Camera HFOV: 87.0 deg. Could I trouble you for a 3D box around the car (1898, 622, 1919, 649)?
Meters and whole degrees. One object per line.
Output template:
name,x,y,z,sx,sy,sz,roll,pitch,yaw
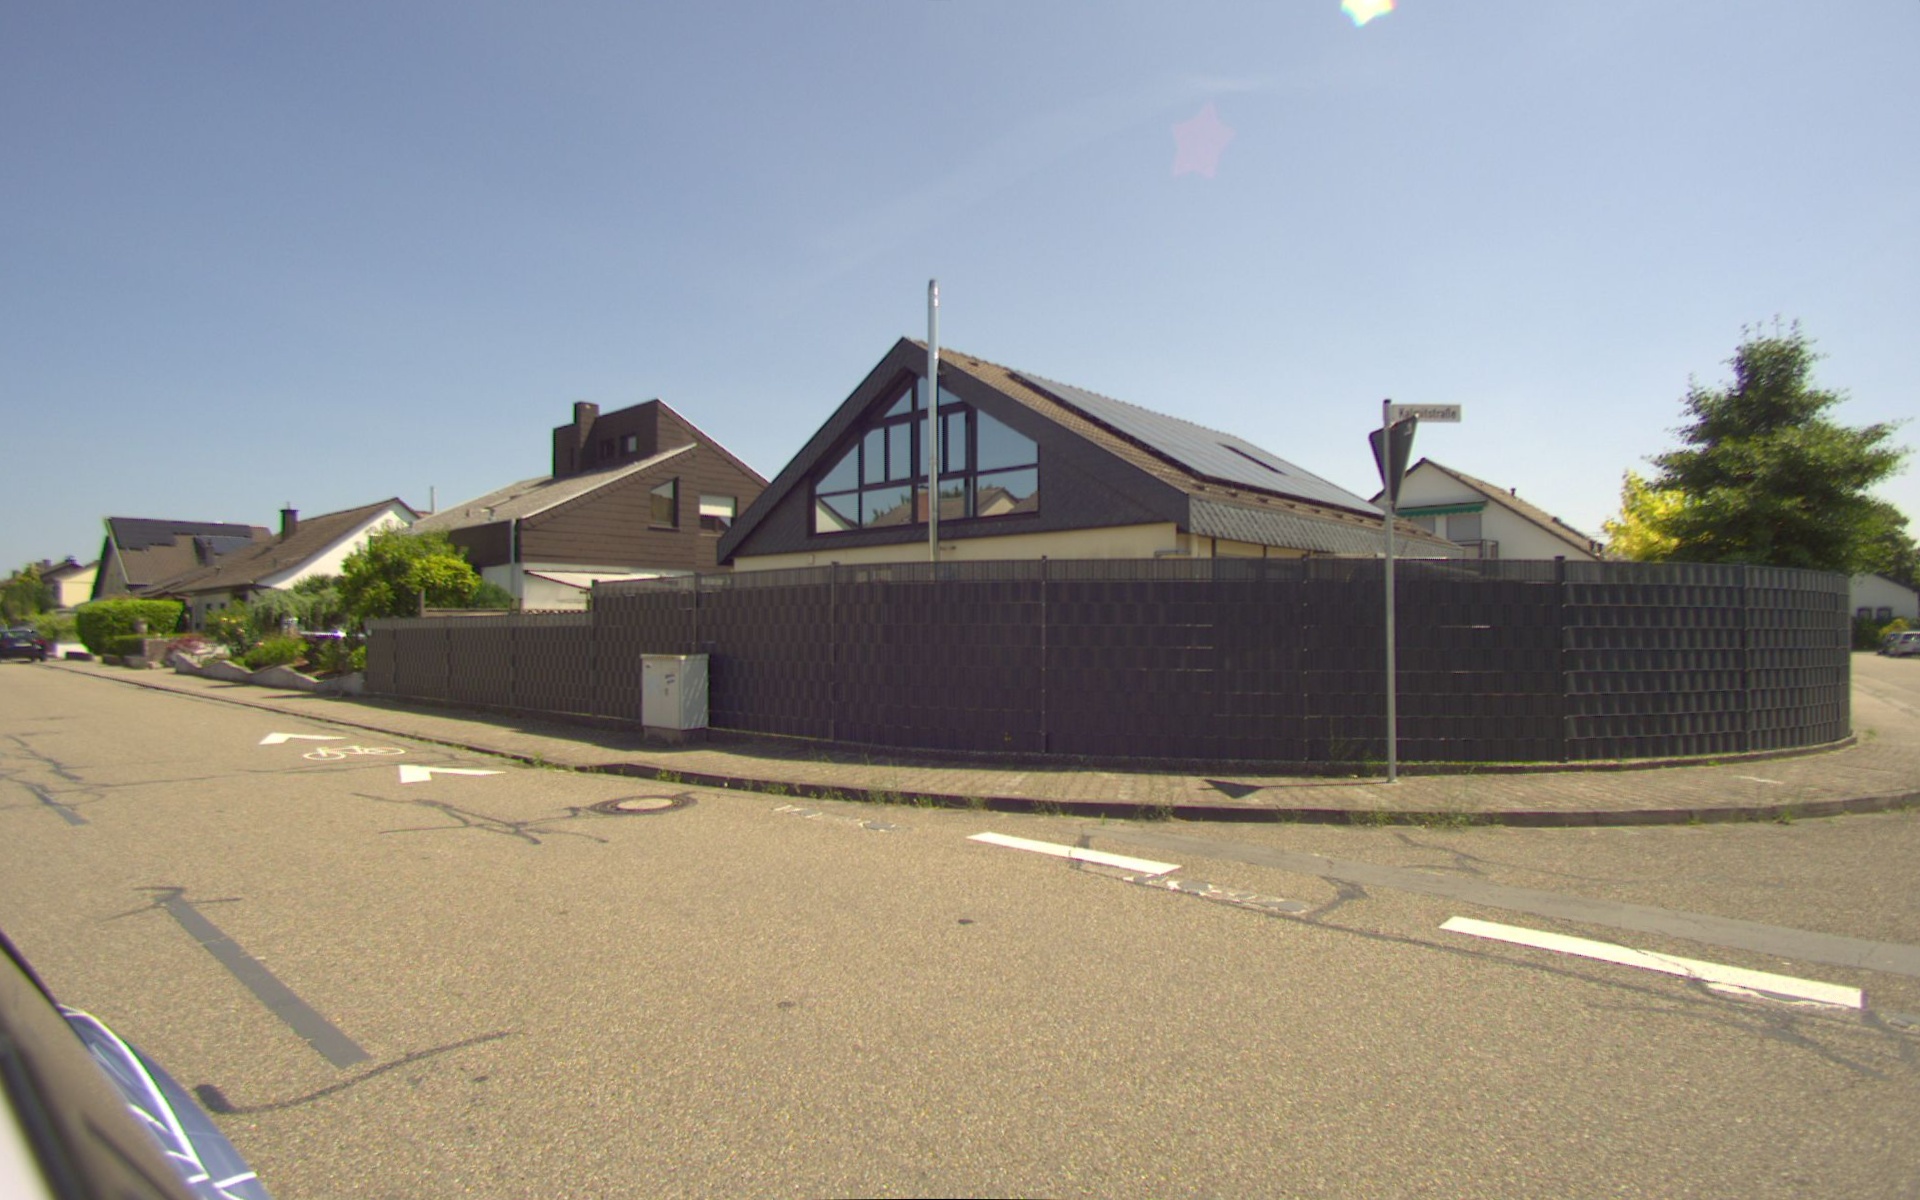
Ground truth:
car,52.072,1.900,54.825,1.773,1.424,3.944,-2,-2,42

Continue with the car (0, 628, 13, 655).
car,-52.272,2.216,54.288,4.002,1.409,1.971,-1,-2,45

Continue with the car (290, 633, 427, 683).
car,-22.071,2.097,37.258,1.901,1.697,3.947,-2,-2,40

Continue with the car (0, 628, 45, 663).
car,-40.448,1.904,43.228,4.002,1.409,1.783,-1,-2,45
